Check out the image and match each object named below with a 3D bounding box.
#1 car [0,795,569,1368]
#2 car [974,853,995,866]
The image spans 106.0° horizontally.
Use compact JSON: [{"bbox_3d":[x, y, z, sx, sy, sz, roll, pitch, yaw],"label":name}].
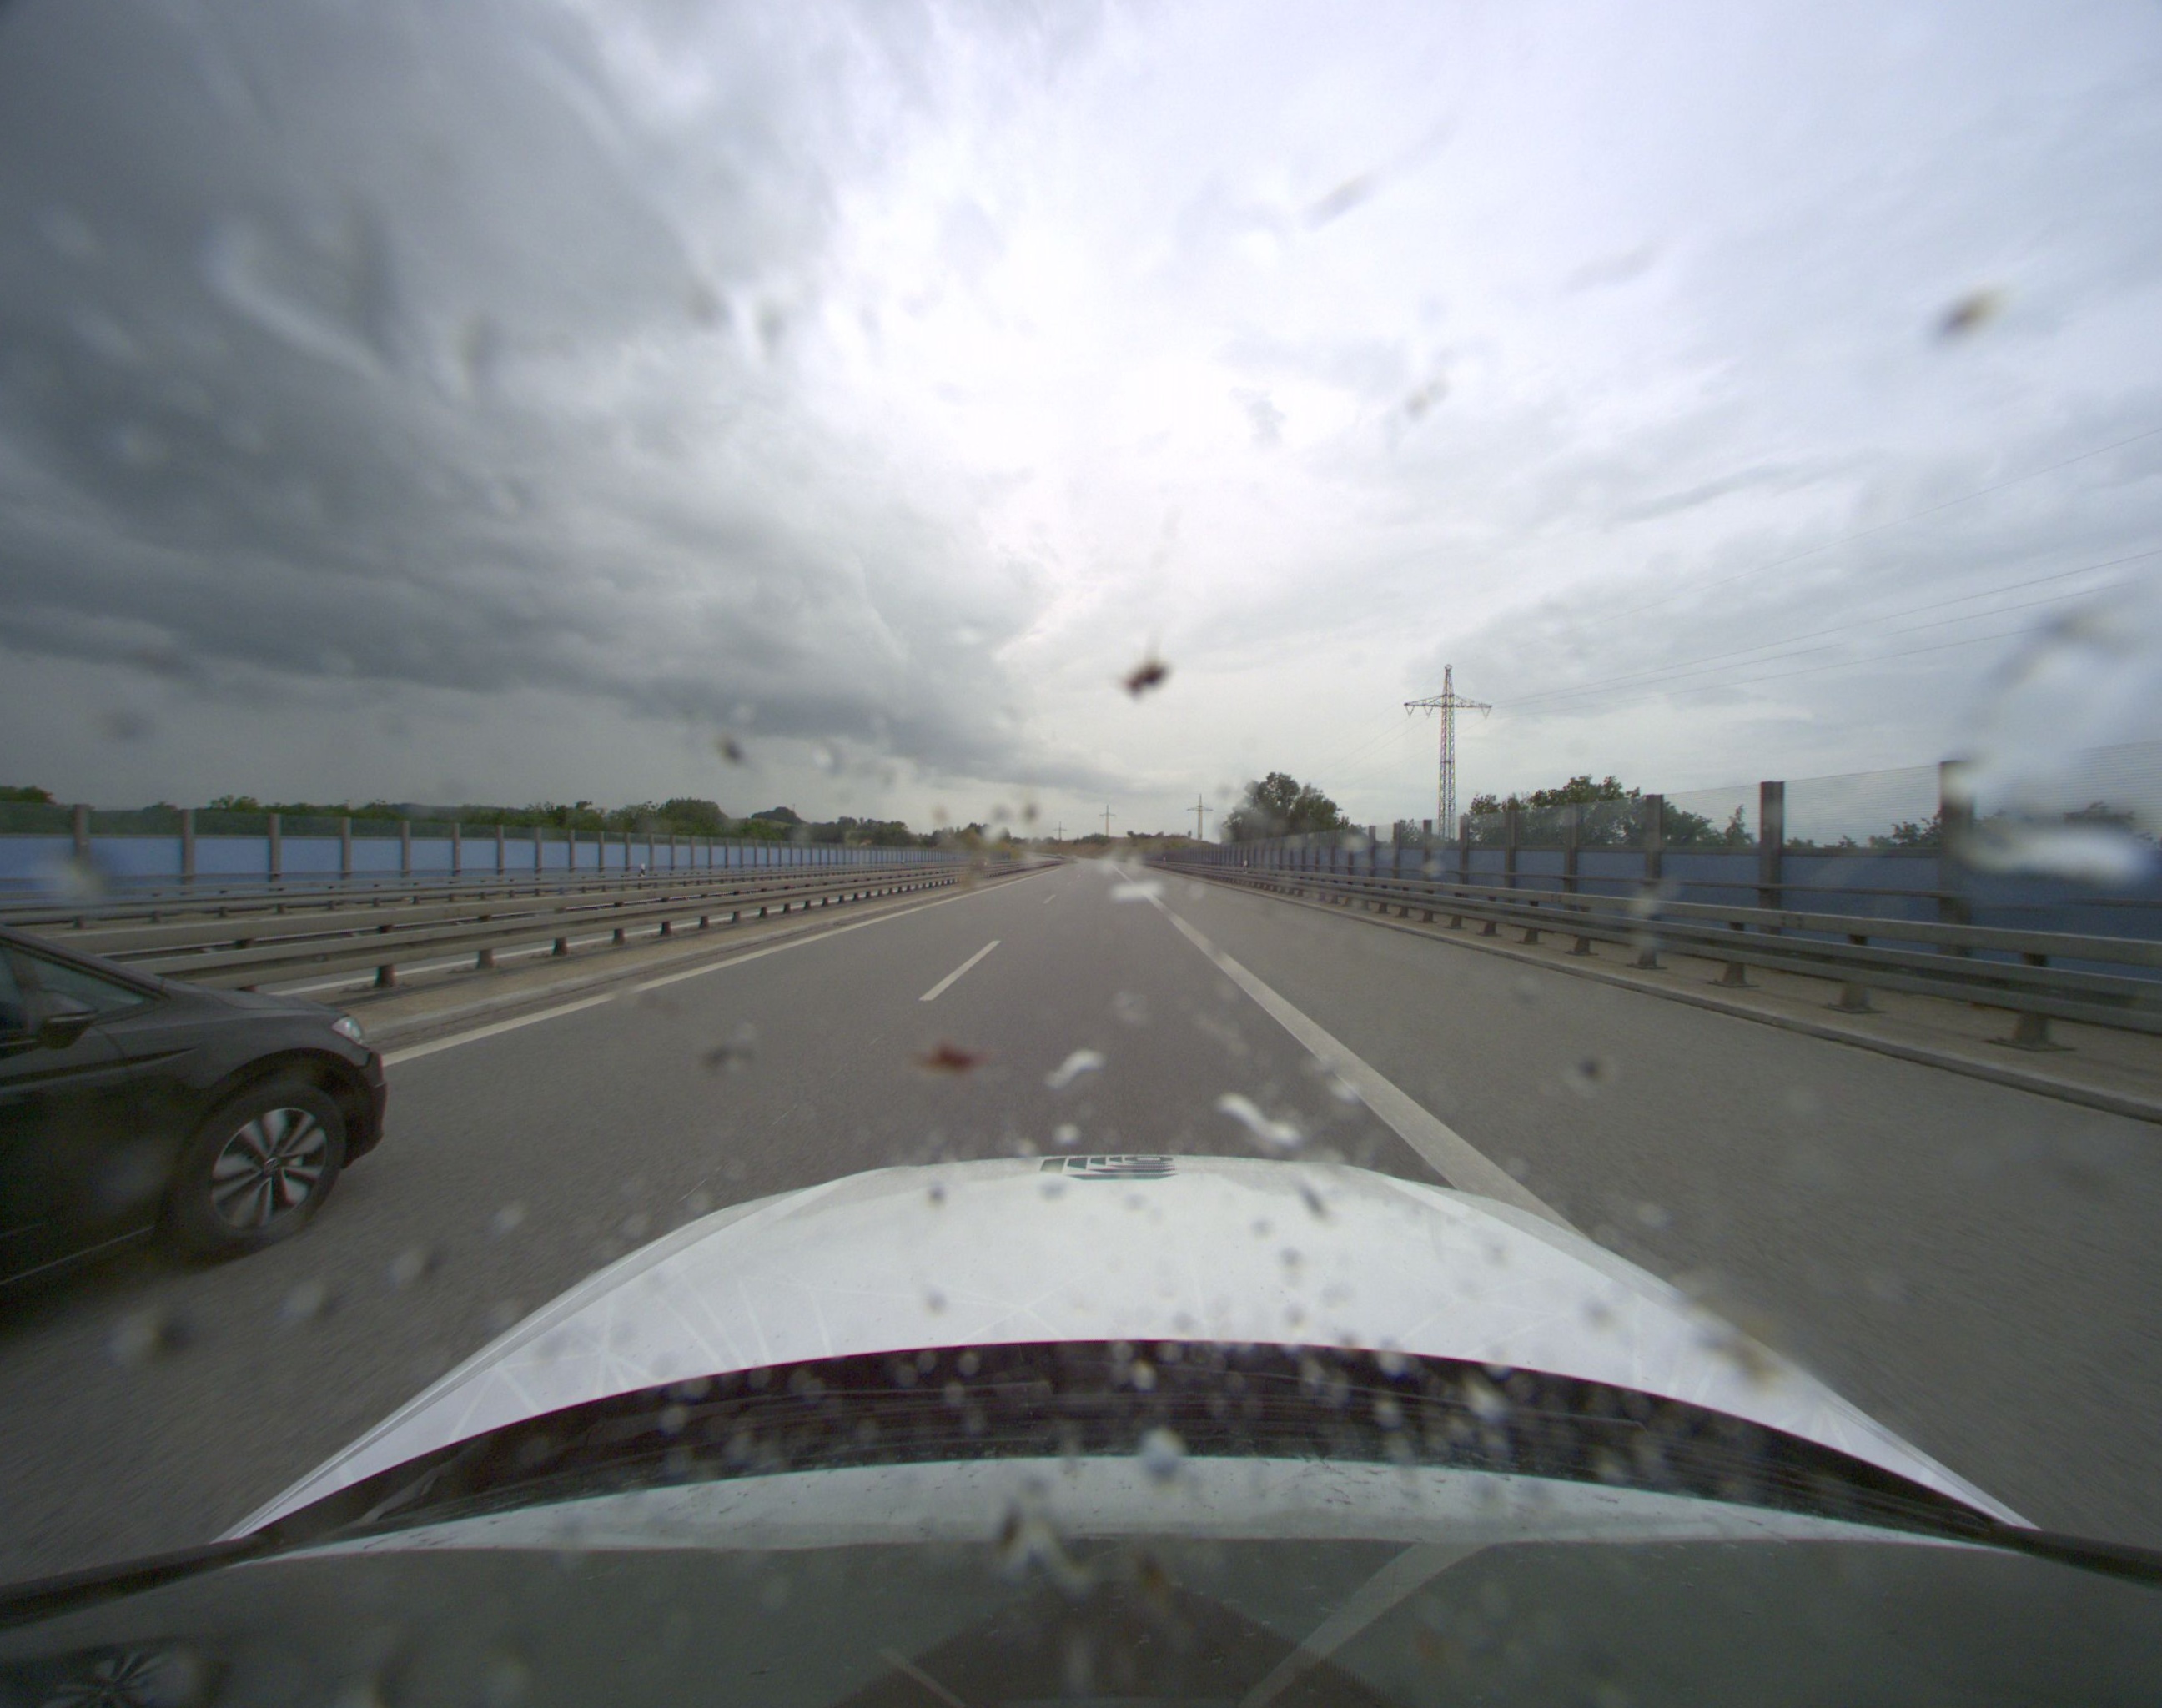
[{"bbox_3d":[-4.104,0.668,2.239,1.889,1.670,5.397,0,0,1],"label":"car"},{"bbox_3d":[-11.732,0.681,99.059,1.986,1.515,4.289,0,0,2],"label":"car"}]
